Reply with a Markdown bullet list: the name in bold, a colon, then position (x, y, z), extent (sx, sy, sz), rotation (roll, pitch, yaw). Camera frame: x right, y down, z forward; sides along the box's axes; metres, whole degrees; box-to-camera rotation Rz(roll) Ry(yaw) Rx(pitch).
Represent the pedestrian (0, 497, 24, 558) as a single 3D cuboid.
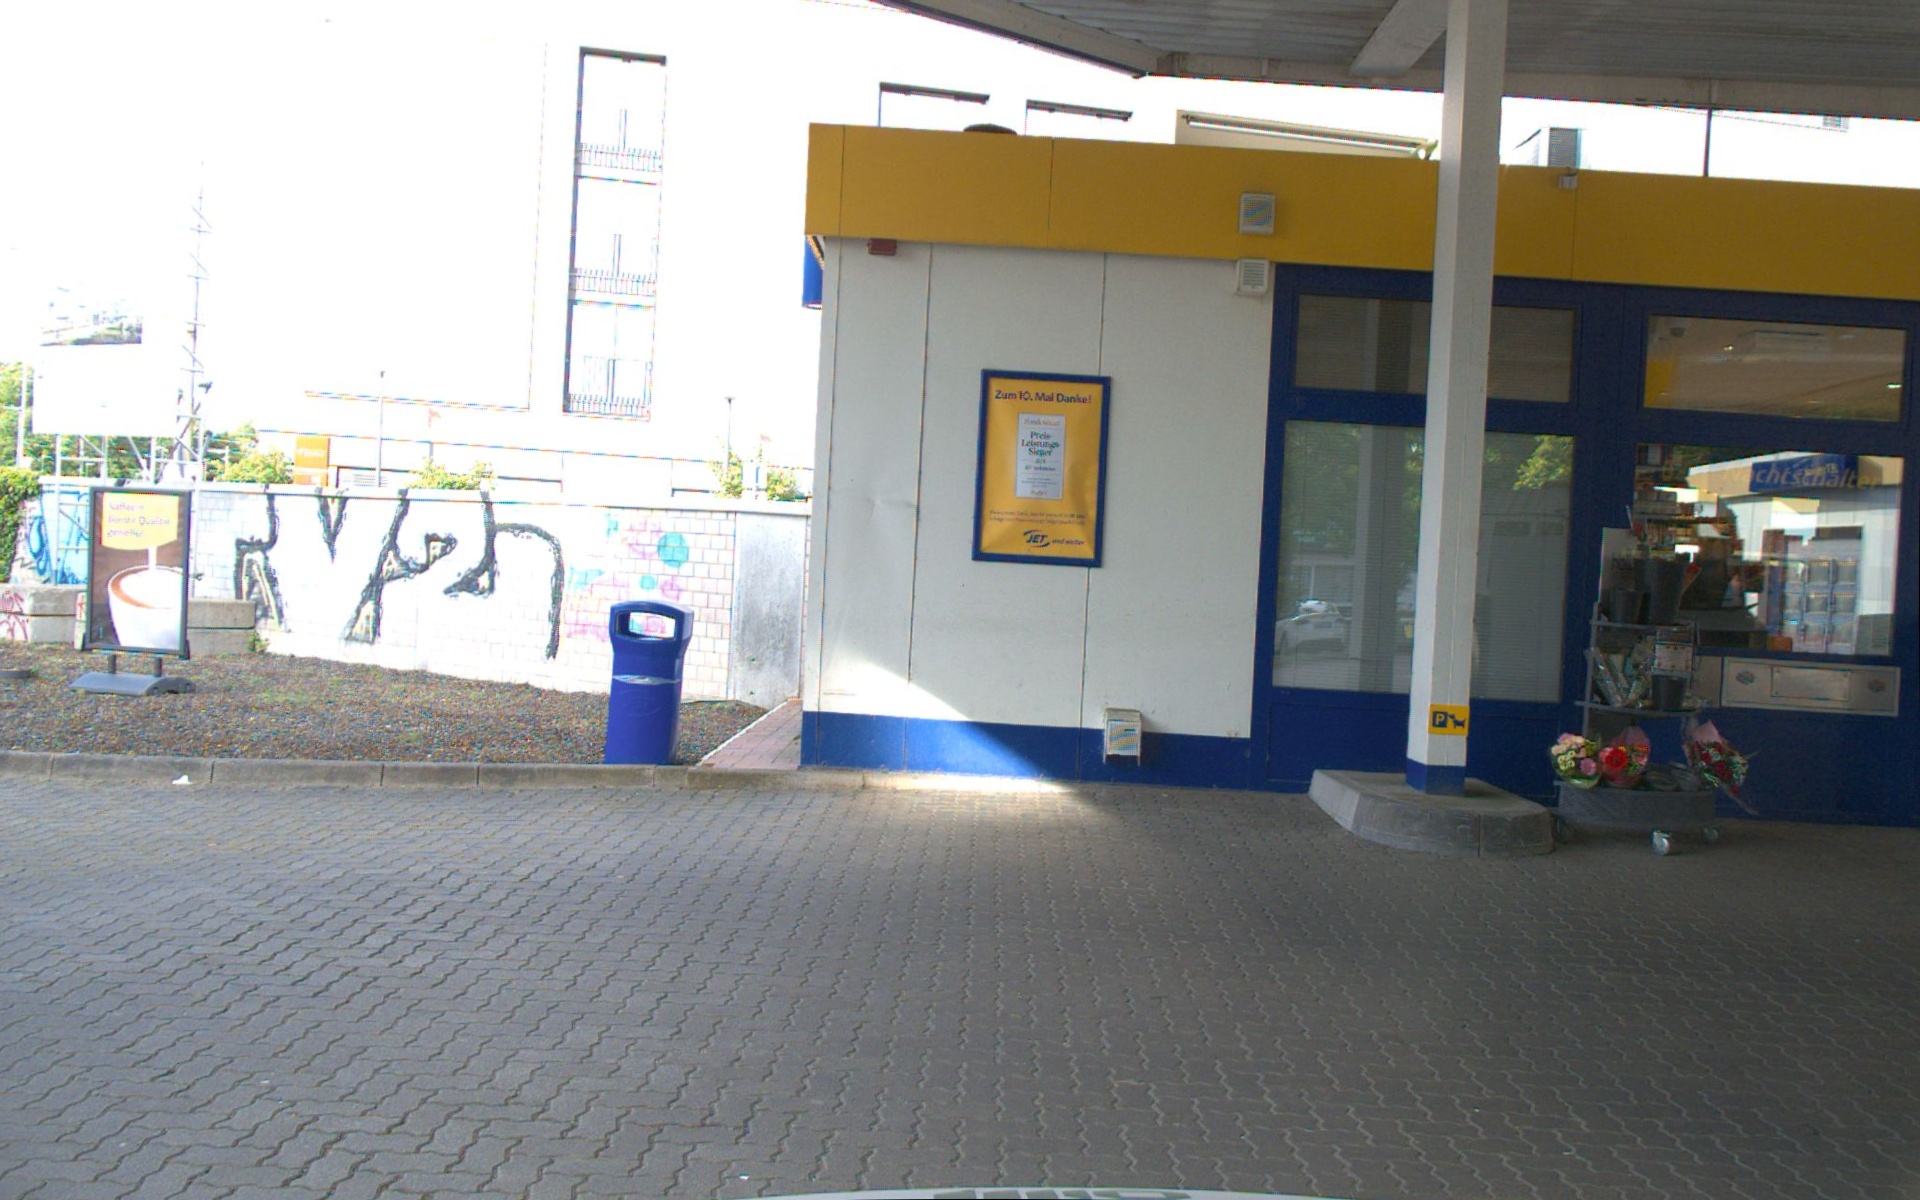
- **pedestrian**: position (-32.789, -2.479, 56.907), extent (0.793, 2.049, 0.847), rotation (1, -1, -17)
